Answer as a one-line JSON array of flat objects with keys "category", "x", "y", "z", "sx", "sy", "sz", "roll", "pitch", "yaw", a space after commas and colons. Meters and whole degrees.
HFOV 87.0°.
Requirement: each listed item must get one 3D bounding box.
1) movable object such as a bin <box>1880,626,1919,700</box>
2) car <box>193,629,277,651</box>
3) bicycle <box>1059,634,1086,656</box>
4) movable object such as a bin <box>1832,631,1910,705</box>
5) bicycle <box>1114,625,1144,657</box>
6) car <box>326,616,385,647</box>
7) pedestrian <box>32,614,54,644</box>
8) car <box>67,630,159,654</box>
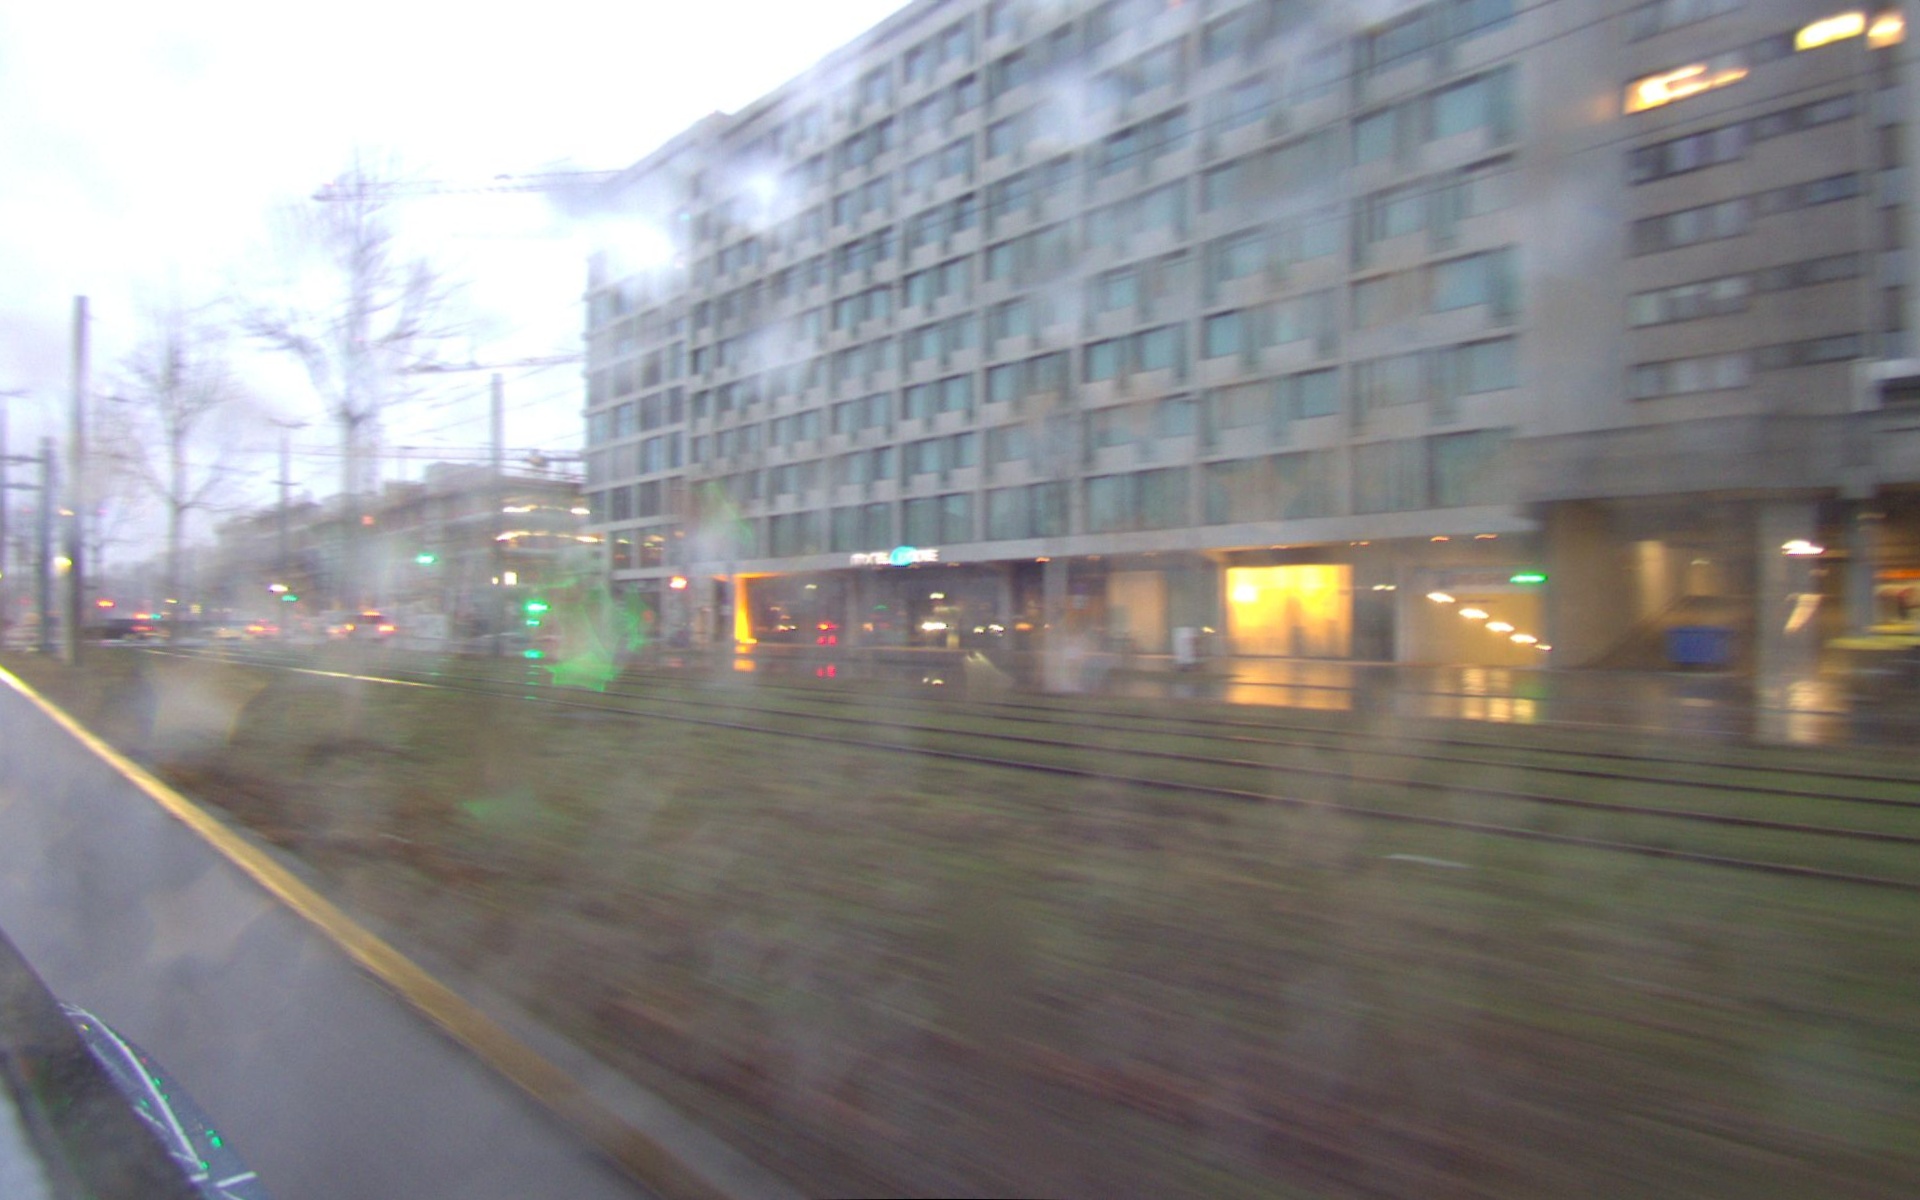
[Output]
[{"category": "movable object such as a bin", "x": 20.315, "y": 1.323, "z": 21.457, "sx": 1.009, "sy": 1.512, "sz": 1.040, "roll": -1, "pitch": 0, "yaw": 33}, {"category": "car", "x": -44.538, "y": 2.423, "z": 62.214, "sx": 3.947, "sy": 1.317, "sz": 1.816, "roll": 0, "pitch": -1, "yaw": 3}, {"category": "bicycle", "x": 4.898, "y": 1.959, "z": 43.918, "sx": 0.465, "sy": 0.860, "sz": 1.331, "roll": -1, "pitch": 1, "yaw": 42}, {"category": "movable object such as a bin", "x": 18.939, "y": 1.393, "z": 21.076, "sx": 1.028, "sy": 1.437, "sz": 1.062, "roll": -1, "pitch": 0, "yaw": 33}, {"category": "bicycle", "x": 7.101, "y": 1.721, "z": 42.443, "sx": 0.465, "sy": 1.247, "sz": 1.519, "roll": -1, "pitch": 1, "yaw": 42}, {"category": "car", "x": -34.824, "y": 1.788, "z": 58.230, "sx": 2.056, "sy": 1.682, "sz": 5.050, "roll": 1, "pitch": -2, "yaw": -41}, {"category": "pedestrian", "x": -56.611, "y": 1.792, "z": 62.487, "sx": 0.756, "sy": 1.818, "sz": 0.712, "roll": -1, "pitch": 0, "yaw": -24}, {"category": "car", "x": -51.203, "y": 2.511, "z": 61.196, "sx": 4.192, "sy": 1.411, "sz": 2.115, "roll": 1, "pitch": -2, "yaw": -42}]
